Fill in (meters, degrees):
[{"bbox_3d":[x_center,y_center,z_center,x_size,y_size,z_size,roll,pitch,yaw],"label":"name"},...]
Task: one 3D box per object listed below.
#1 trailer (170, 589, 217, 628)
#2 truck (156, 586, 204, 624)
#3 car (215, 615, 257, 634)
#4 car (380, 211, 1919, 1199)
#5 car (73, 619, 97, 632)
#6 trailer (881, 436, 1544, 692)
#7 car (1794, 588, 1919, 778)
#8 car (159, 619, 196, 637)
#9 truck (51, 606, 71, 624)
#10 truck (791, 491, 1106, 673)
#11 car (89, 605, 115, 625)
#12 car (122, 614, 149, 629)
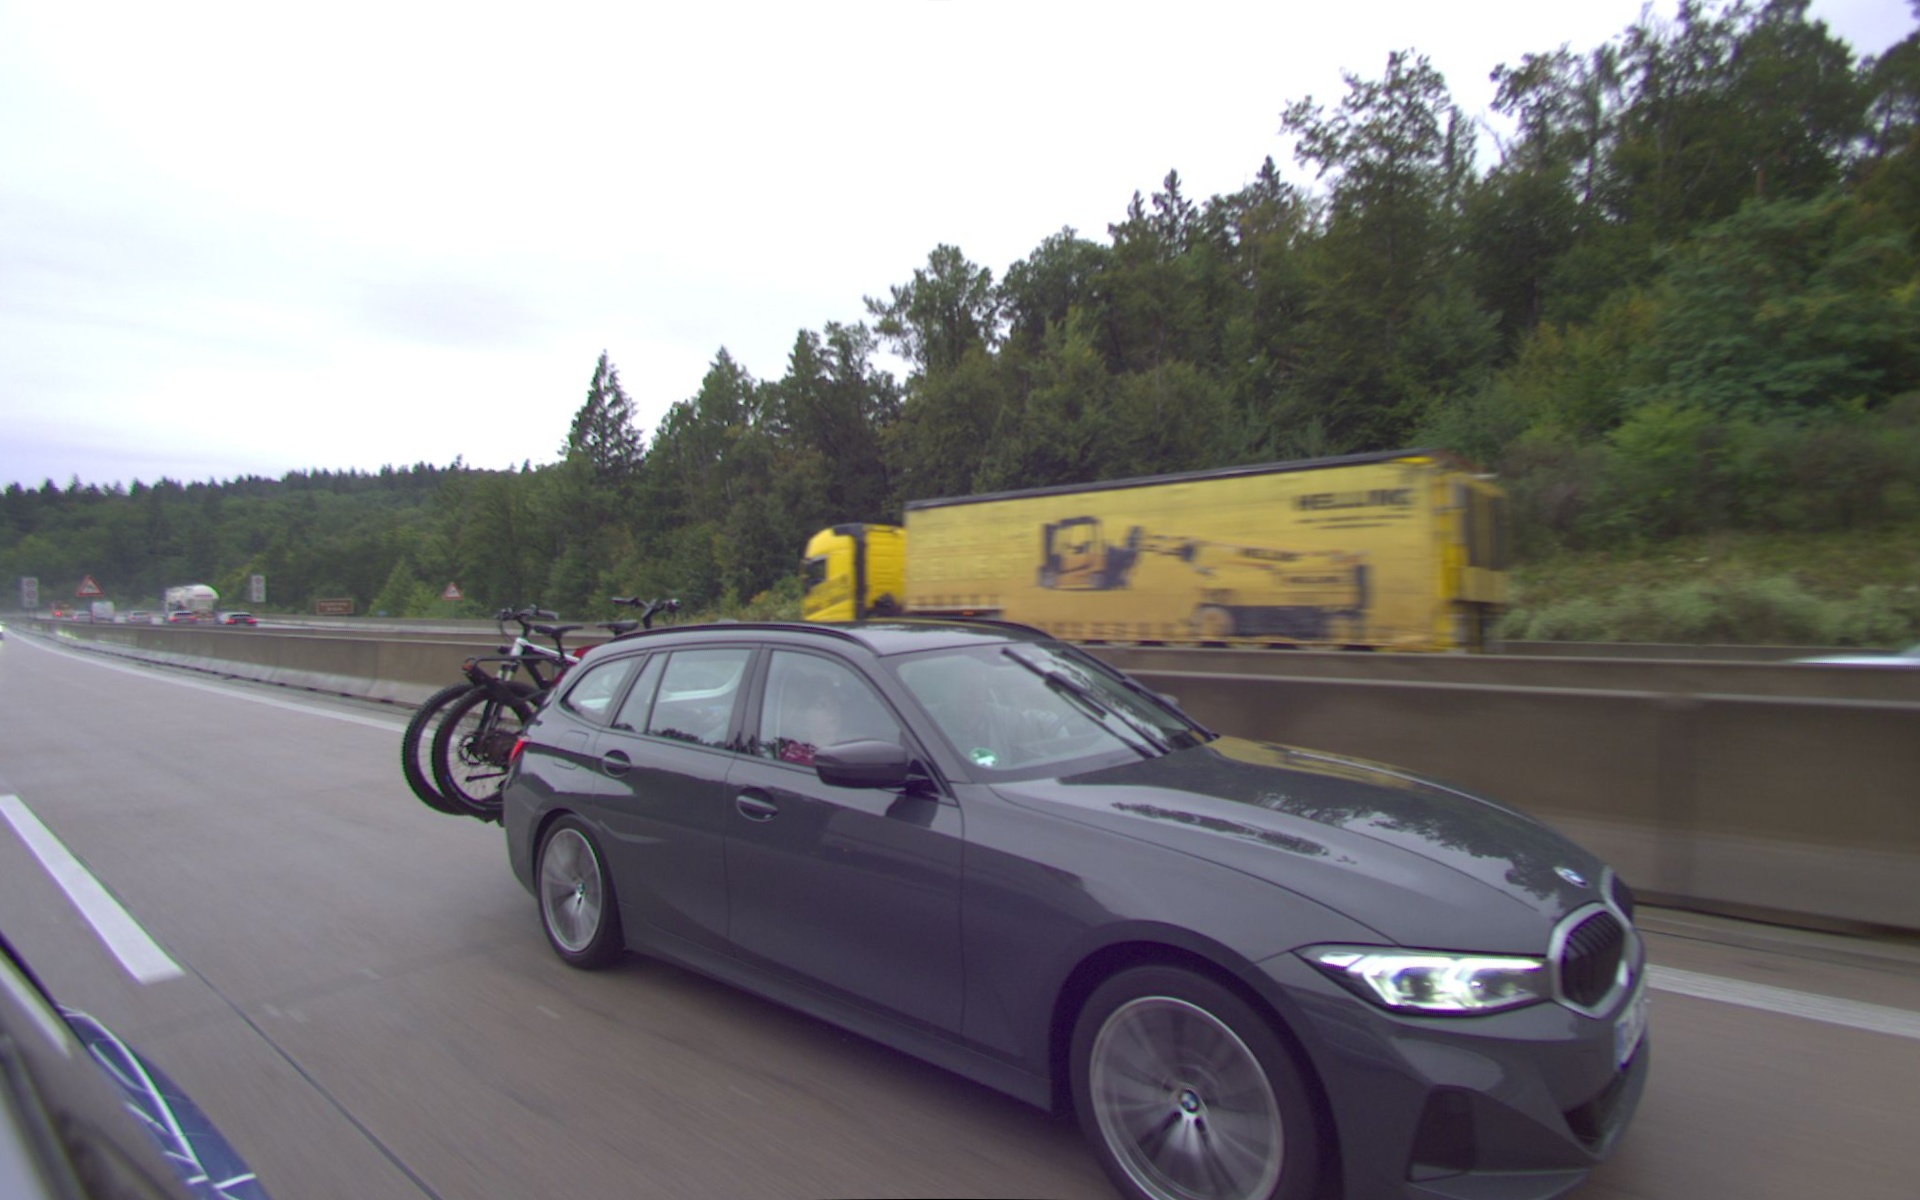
[{"bbox_3d":[-75.013,0.858,98.998,8.234,3.695,2.517,-1,0,45],"label":"trailer"},{"bbox_3d":[-80.843,0.541,104.773,10.496,3.695,2.535,-1,0,45],"label":"truck"},{"bbox_3d":[-46.594,1.558,65.111,4.405,1.174,1.494,-1,0,45],"label":"car"},{"bbox_3d":[-0.150,0.465,4.032,6.160,1.959,1.887,-1,0,42],"label":"car"},{"bbox_3d":[-97.392,2.837,112.643,4.760,1.382,1.640,-1,0,44],"label":"car"},{"bbox_3d":[4.100,-0.457,21.158,13.700,3.904,2.981,-1,-1,43],"label":"trailer"},{"bbox_3d":[9.177,0.623,7.546,4.541,1.490,1.637,-1,0,40],"label":"car"},{"bbox_3d":[-61.043,2.144,78.970,1.781,1.343,4.568,-1,0,-44],"label":"car"},{"bbox_3d":[-172.054,2.857,193.585,2.404,3.198,10.670,-2,1,-44],"label":"truck"},{"bbox_3d":[-0.561,-0.330,25.531,8.117,3.904,2.993,-1,-1,43],"label":"truck"},{"bbox_3d":[-108.513,1.924,127.900,1.971,2.467,6.749,-1,0,-45],"label":"car"},{"bbox_3d":[-81.350,2.126,99.838,4.723,1.382,1.640,-1,0,45],"label":"car"}]
